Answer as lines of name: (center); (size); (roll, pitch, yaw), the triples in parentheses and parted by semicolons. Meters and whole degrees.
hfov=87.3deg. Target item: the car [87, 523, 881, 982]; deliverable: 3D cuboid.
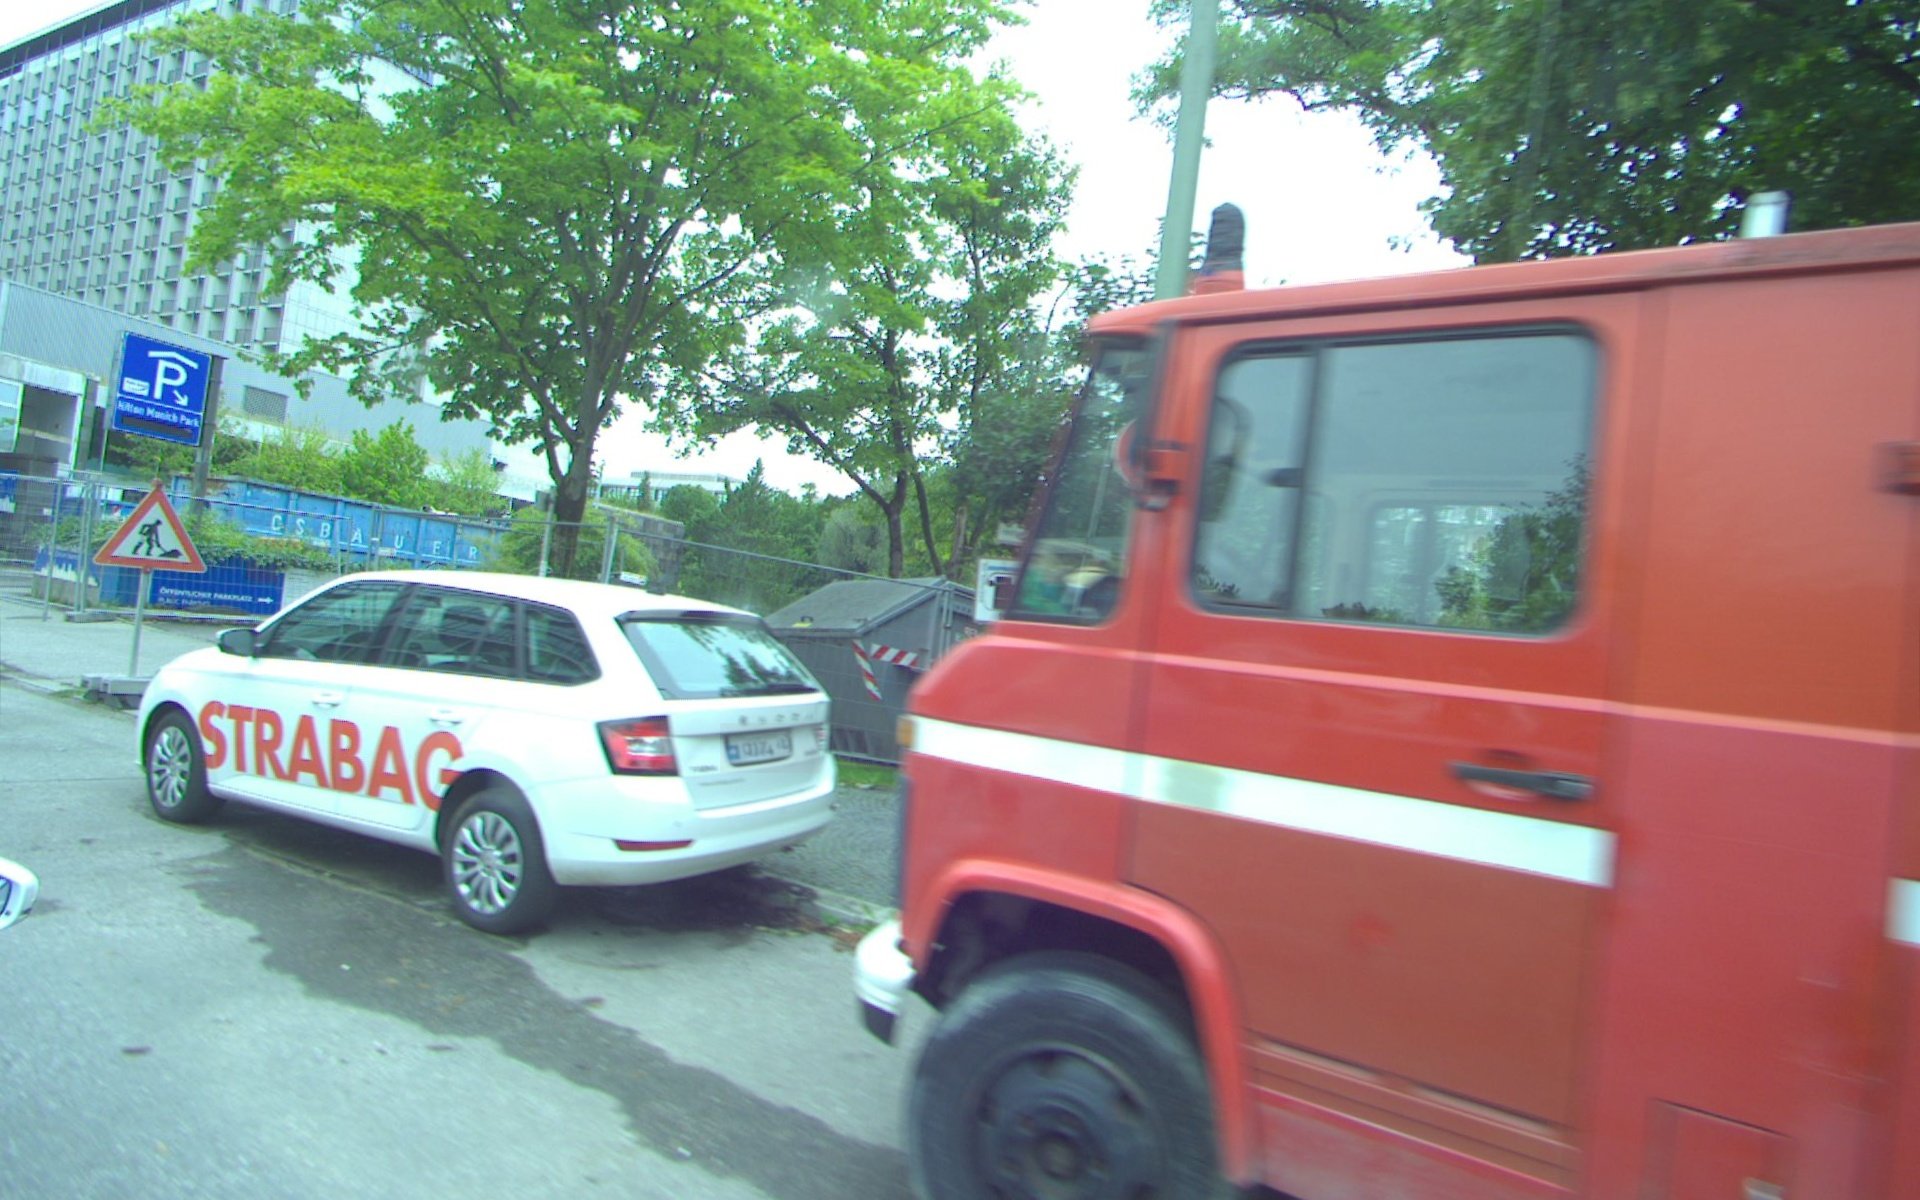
car: (-2.589, 0.564, 5.316); (3.989, 1.509, 1.536); (5, -2, 26)

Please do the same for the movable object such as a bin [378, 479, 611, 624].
movable object such as a bin: (-14.741, -1.326, 32.733); (3.819, 3.727, 7.179); (7, -1, 0)

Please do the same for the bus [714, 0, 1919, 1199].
bus: (2.650, 0.440, 1.744); (6.171, 2.838, 2.075); (6, -1, 34)
